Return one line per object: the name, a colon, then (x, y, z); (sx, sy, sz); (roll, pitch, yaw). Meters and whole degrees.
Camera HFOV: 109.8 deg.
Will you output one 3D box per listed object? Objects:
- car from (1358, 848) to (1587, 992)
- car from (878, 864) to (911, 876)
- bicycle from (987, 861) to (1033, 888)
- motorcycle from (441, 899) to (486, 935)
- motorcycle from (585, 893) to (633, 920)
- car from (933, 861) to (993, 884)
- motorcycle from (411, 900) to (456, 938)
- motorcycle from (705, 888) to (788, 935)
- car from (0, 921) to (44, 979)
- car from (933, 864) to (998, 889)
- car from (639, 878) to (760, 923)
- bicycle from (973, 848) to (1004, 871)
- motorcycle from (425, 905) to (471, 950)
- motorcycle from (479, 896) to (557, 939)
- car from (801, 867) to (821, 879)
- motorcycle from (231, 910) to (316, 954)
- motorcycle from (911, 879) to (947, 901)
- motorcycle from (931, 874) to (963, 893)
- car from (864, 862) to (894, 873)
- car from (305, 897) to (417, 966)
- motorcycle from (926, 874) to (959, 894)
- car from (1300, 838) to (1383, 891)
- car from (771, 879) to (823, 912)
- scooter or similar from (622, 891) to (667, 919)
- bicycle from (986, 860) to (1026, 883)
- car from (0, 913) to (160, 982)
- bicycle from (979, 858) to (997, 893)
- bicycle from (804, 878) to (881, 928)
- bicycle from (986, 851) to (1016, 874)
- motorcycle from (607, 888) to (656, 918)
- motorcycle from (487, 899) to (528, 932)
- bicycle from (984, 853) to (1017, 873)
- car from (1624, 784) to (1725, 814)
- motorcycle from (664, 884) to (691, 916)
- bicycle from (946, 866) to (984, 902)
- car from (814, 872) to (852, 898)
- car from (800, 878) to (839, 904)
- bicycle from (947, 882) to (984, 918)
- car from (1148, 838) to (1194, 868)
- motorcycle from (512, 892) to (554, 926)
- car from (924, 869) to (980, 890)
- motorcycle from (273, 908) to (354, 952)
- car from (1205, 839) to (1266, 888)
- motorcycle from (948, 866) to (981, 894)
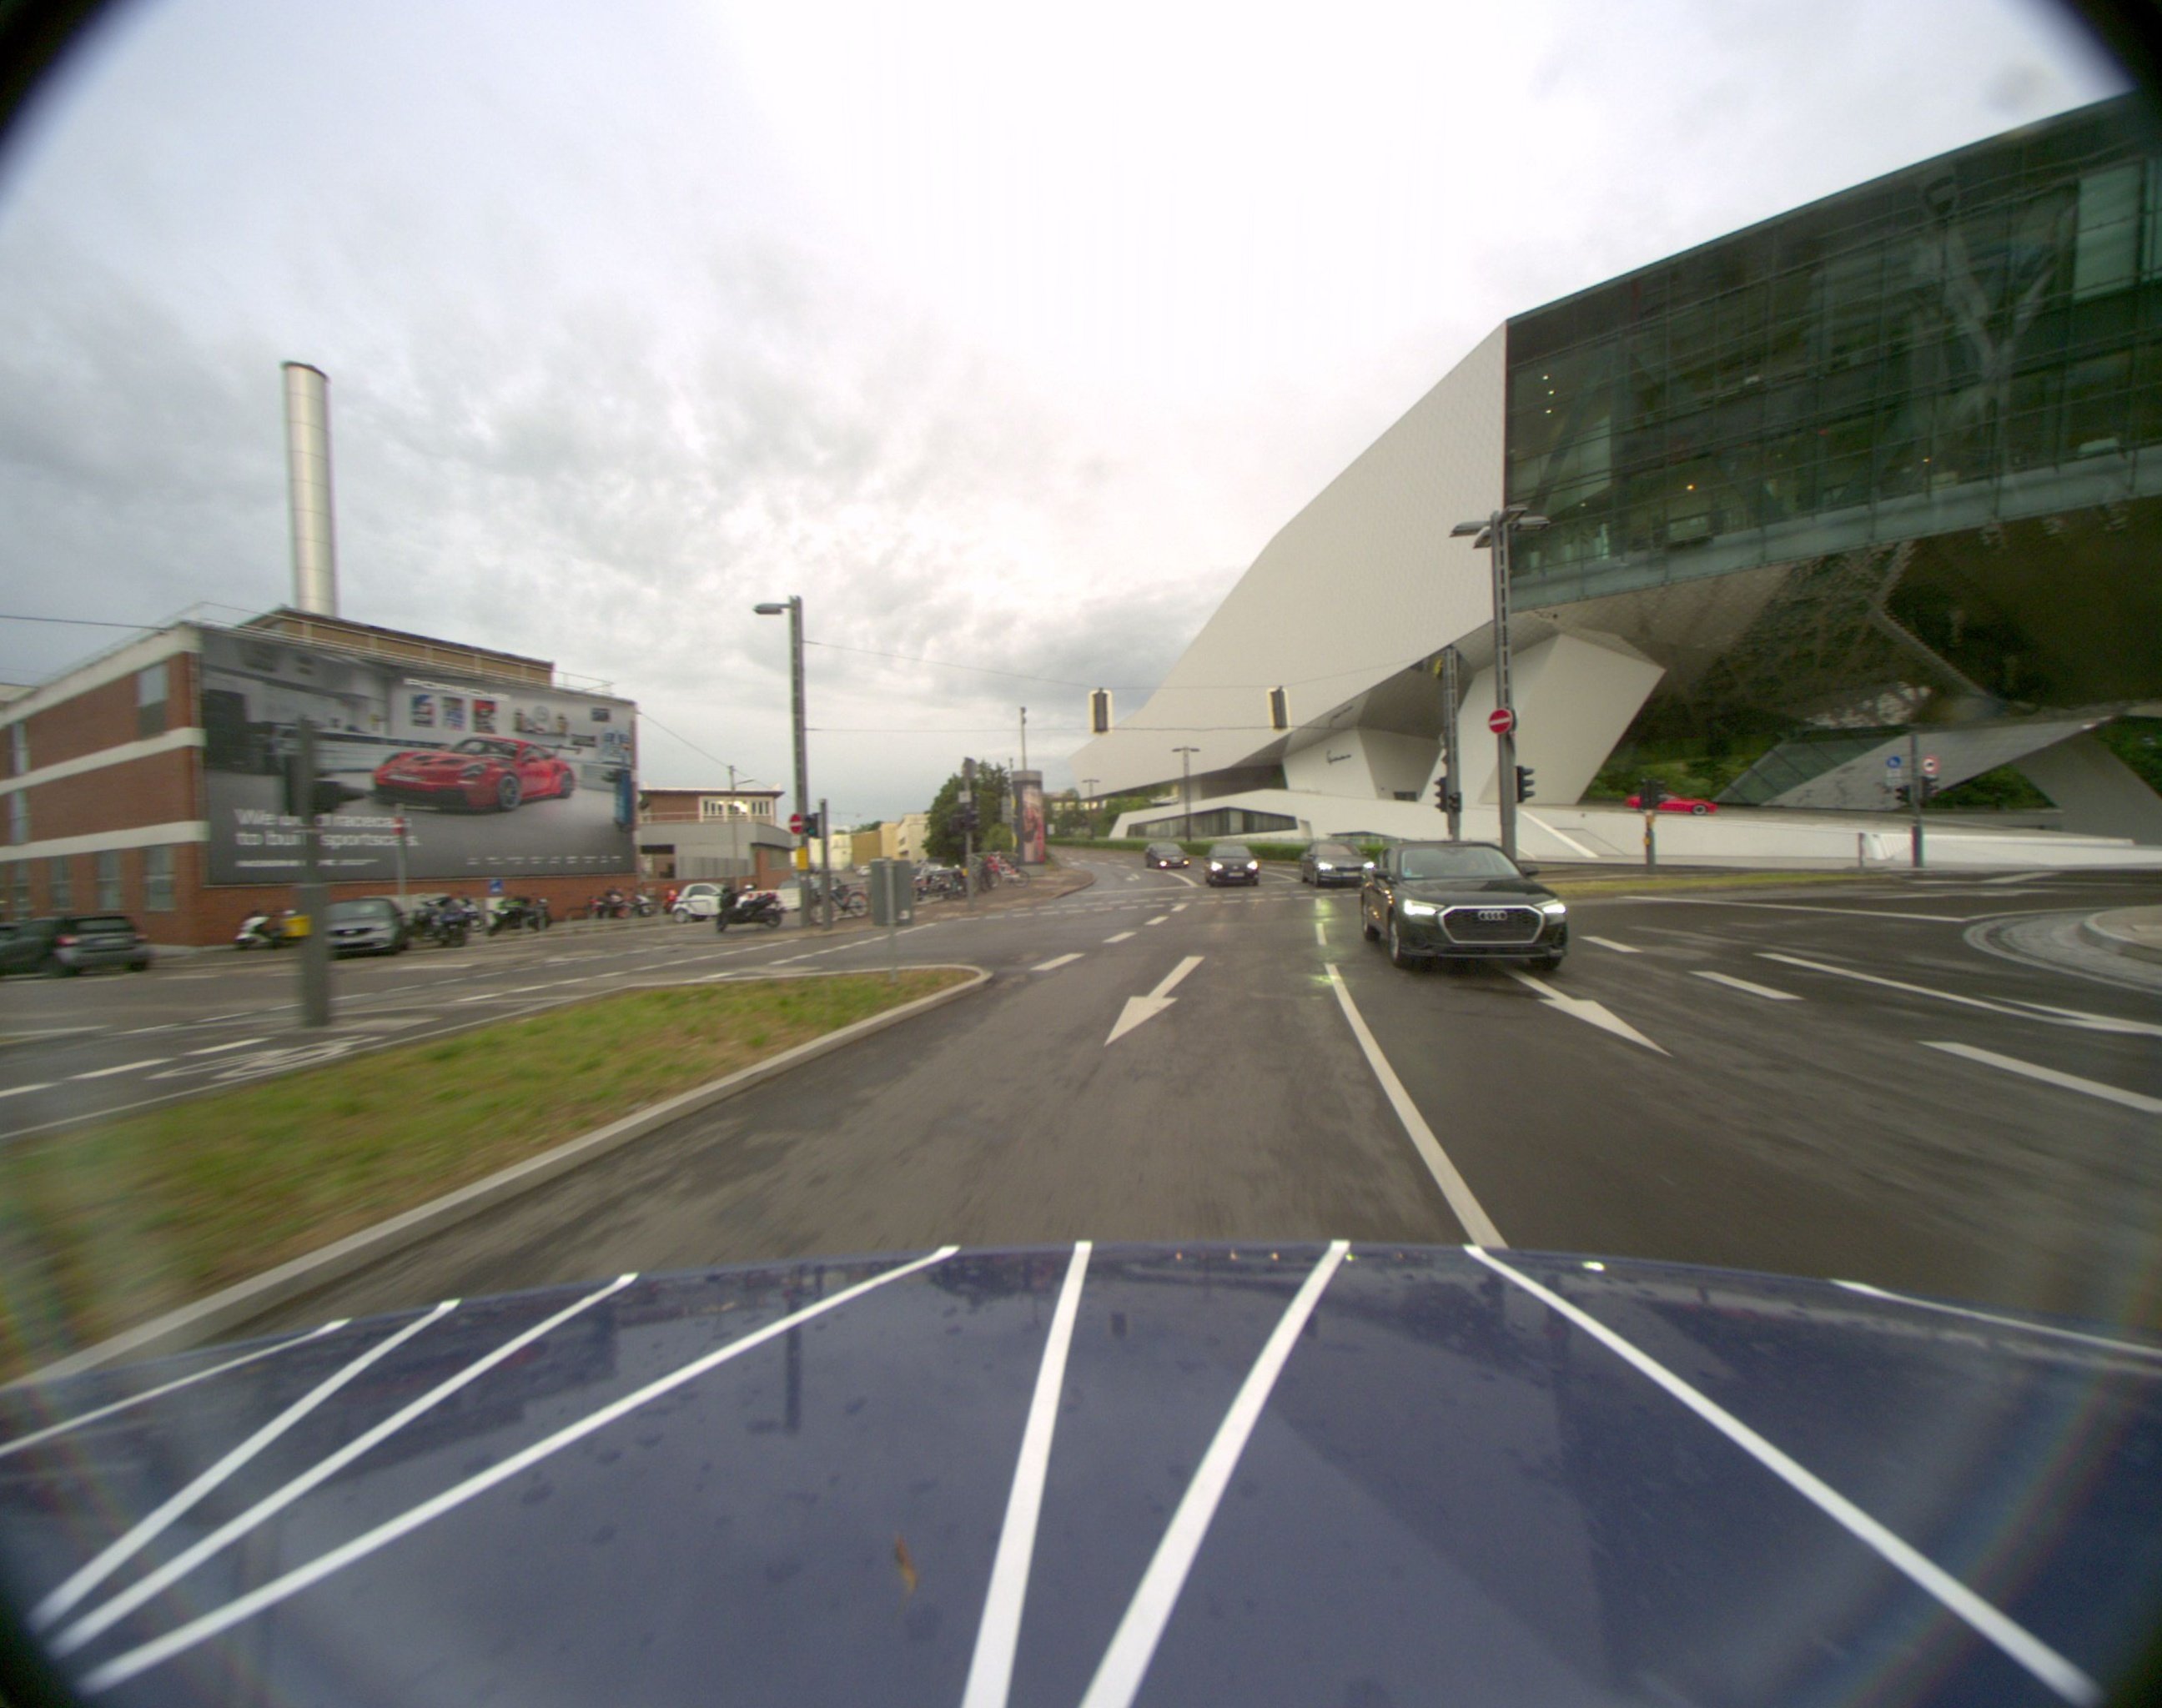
car: (4.968, 0.692, 10.325); (1.755, 1.509, 4.399); (-1, 0, 13)
car: (-25.005, 2.133, 101.742); (4.004, 1.417, 1.717); (-3, 1, -24)
bicycle: (-2.765, 0.802, 29.762); (1.745, 0.956, 0.421); (-2, 3, -2)
motorcycle: (-21.501, 2.168, 26.453); (1.709, 1.174, 0.545); (-2, 3, 30)
motorcycle: (-19.574, 2.182, 31.494); (1.615, 0.968, 0.541); (-3, 3, 6)
car: (-8.581, 1.317, 55.416); (3.995, 1.417, 1.721); (-3, 1, 5)
motorcycle: (-21.917, 2.182, 25.699); (1.644, 1.174, 0.545); (-2, 3, 30)
motorcycle: (-9.159, 1.571, 20.789); (2.092, 1.139, 0.488); (-3, 3, 11)
car: (-30.689, 2.689, 20.956); (4.096, 1.436, 1.570); (-2, 3, 25)
car: (-7.809, 1.511, 51.444); (3.995, 1.417, 1.721); (-3, 1, 5)
car: (-15.319, 1.863, 30.655); (3.997, 1.480, 1.567); (-3, 1, -1)
bicycle: (-4.841, 0.298, 39.679); (1.545, 1.149, 0.450); (-1, 3, -14)
motorcycle: (-17.840, 2.058, 21.411); (1.719, 1.140, 0.496); (-1, 4, 36)
motorcycle: (-17.930, 2.003, 24.257); (0.543, 1.105, 1.867); (-2, 3, 27)
car: (-35.498, 2.512, 99.967); (1.723, 1.417, 3.991); (-3, 1, -30)
motorcycle: (-24.948, 2.396, 23.508); (0.543, 1.105, 1.651); (-1, 3, 34)
motorcycle: (-7.416, 1.762, 37.028); (1.617, 0.917, 0.481); (-4, 3, -17)
motorcycle: (-7.401, 1.638, 42.040); (1.618, 0.917, 0.420); (-5, 3, -24)
car: (-30.311, 2.067, 113.930); (4.004, 1.417, 1.717); (-3, 1, -24)
car: (-19.167, 1.999, 20.360); (1.628, 1.495, 3.239); (-3, 1, -34)
motorcycle: (-7.481, 1.630, 41.013); (1.618, 0.917, 0.420); (-5, 3, -24)
car: (8.574, 0.293, 25.362); (1.816, 1.431, 4.303); (-3, 2, 8)
car: (-15.946, 2.292, 42.869); (1.890, 1.542, 4.503); (-3, 1, -10)
scooter or similar: (-19.275, 2.247, 33.547); (1.637, 1.091, 0.504); (-3, 3, 6)
bicycle: (-3.178, 0.749, 32.373); (1.615, 0.916, 0.421); (-2, 2, 2)
car: (-25.509, 2.347, 19.195); (2.748, 1.484, 1.555); (-3, -1, 6)
bicycle: (-3.471, 0.791, 28.423); (0.400, 1.169, 2.014); (-2, 3, 0)
bicycle: (-6.483, 1.307, 20.748); (0.420, 1.124, 2.077); (-1, 3, 37)
bicycle: (-4.008, 0.423, 38.144); (1.465, 1.068, 0.442); (-3, 4, -40)
motorcycle: (-19.379, 2.120, 32.794); (1.719, 1.146, 0.585); (-3, 3, 6)
motorcycle: (-20.662, 2.198, 27.376); (1.805, 1.113, 0.477); (-2, 3, 32)
bicycle: (-4.116, 0.459, 38.947); (0.485, 0.917, 1.707); (1, 3, 45)
car: (33.258, -3.087, 42.736); (4.231, 1.378, 2.004); (7, 6, 33)
motorcycle: (-18.830, 2.135, 35.457); (0.524, 1.326, 1.667); (-4, 3, -9)
bicycle: (-3.908, 1.006, 25.794); (0.347, 1.078, 1.746); (-1, 3, 24)
car: (-18.290, 2.254, 56.295); (1.784, 1.657, 4.502); (-3, 1, -7)
car: (-17.068, 2.372, 49.715); (1.721, 1.417, 3.996); (-3, 1, -9)
bicycle: (-4.018, 1.589, 26.646); (0.347, 1.078, 1.746); (-1, 3, 24)
car: (5.062, -0.108, 43.285); (1.749, 1.466, 4.065); (-3, 2, -5)
motorcycle: (-20.634, 2.057, 28.619); (1.802, 1.231, 0.545); (-2, 1, 30)
car: (-10.295, 2.056, 60.723); (3.995, 1.417, 1.721); (-3, 1, 5)
motorcycle: (-23.571, 2.315, 23.356); (0.543, 1.114, 1.604); (-1, 3, 34)
car: (5.508, 0.279, 27.558); (1.693, 1.499, 4.011); (-3, 2, 6)
motorcycle: (-4.334, 0.951, 28.431); (0.547, 0.890, 1.745); (-2, 3, 14)
